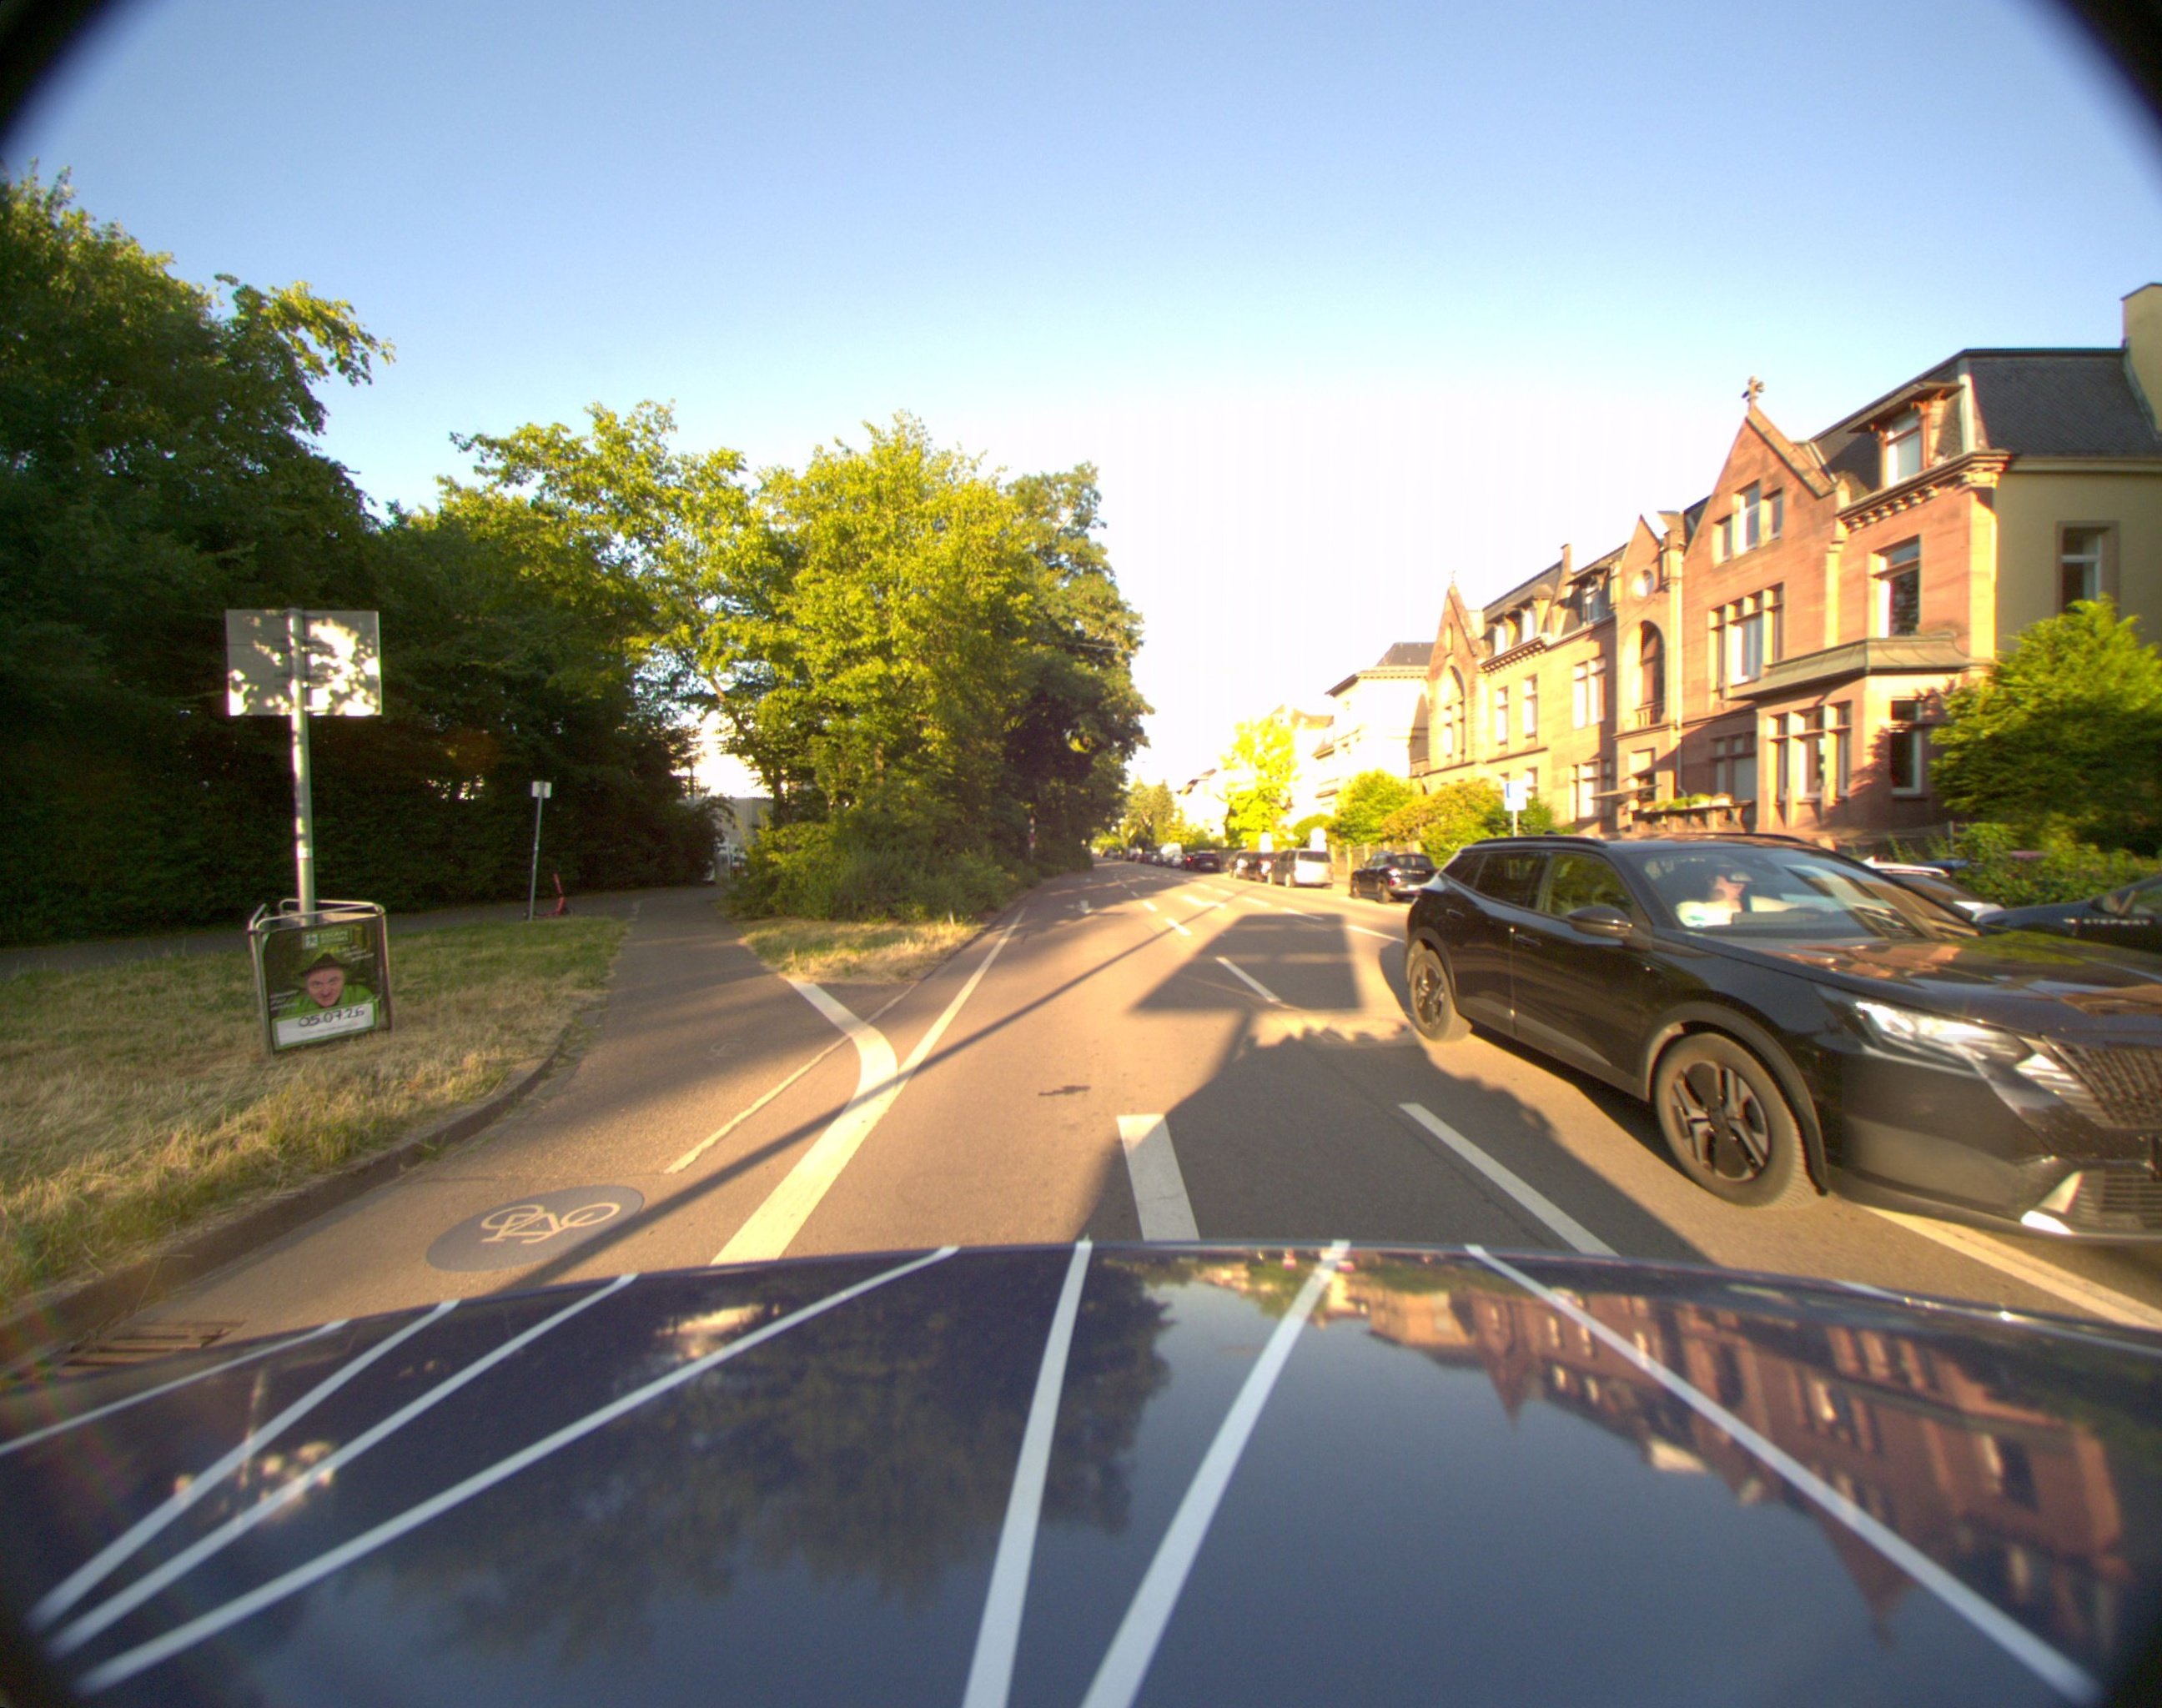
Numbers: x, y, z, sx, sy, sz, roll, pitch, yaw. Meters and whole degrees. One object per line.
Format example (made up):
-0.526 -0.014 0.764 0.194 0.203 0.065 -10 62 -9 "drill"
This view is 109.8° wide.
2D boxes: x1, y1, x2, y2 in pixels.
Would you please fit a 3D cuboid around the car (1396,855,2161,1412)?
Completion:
3.384 0.787 4.130 1.682 1.527 3.999 0 0 0 "car"

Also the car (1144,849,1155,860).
9.219 0.028 102.297 1.327 1.430 2.697 0 0 1 "car"

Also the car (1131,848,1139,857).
8.911 -0.198 124.783 1.220 1.430 2.515 0 0 1 "car"

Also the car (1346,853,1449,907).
9.206 0.716 22.399 1.631 1.437 3.566 0 0 2 "car"

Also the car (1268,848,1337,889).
9.145 0.559 31.715 1.716 1.579 3.752 0 0 -1 "car"

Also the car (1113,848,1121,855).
9.684 -0.693 203.404 1.998 2.002 4.000 0 0 1 "car"

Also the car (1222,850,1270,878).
8.933 0.509 41.316 1.716 1.442 3.722 0 0 -1 "car"

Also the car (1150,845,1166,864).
9.294 0.024 92.115 1.571 2.253 3.800 0 1 1 "car"

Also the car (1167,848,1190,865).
9.343 0.193 73.106 1.715 1.596 3.853 0 0 1 "car"

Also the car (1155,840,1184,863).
9.258 -0.291 79.864 2.231 2.355 5.878 0 0 -1 "car"

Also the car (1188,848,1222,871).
9.042 0.355 55.550 1.880 1.596 3.723 0 0 1 "car"

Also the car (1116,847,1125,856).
8.831 -0.519 170.527 1.998 2.002 4.000 -2 1 2 "car"

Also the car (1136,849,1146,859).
9.068 0.028 114.701 1.220 1.430 2.515 0 0 1 "car"

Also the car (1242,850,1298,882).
9.055 0.549 36.694 1.716 1.442 3.722 0 0 -1 "car"

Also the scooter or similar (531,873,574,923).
-11.831 0.977 17.028 0.194 1.079 0.837 -2 0 15 "scooter or similar"

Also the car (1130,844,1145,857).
9.660 -0.619 130.710 2.203 2.201 4.527 0 0 1 "car"

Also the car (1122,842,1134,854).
9.599 -1.251 155.331 1.999 2.442 5.579 -1 0 -1 "car"

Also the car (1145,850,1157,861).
9.028 0.193 97.725 1.292 1.430 2.883 0 0 1 "car"

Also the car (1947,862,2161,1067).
8.978 0.877 5.304 1.631 1.526 3.723 2 1 2 "car"

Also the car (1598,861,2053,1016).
8.983 0.862 9.853 1.608 1.435 4.433 2 0 2 "car"
